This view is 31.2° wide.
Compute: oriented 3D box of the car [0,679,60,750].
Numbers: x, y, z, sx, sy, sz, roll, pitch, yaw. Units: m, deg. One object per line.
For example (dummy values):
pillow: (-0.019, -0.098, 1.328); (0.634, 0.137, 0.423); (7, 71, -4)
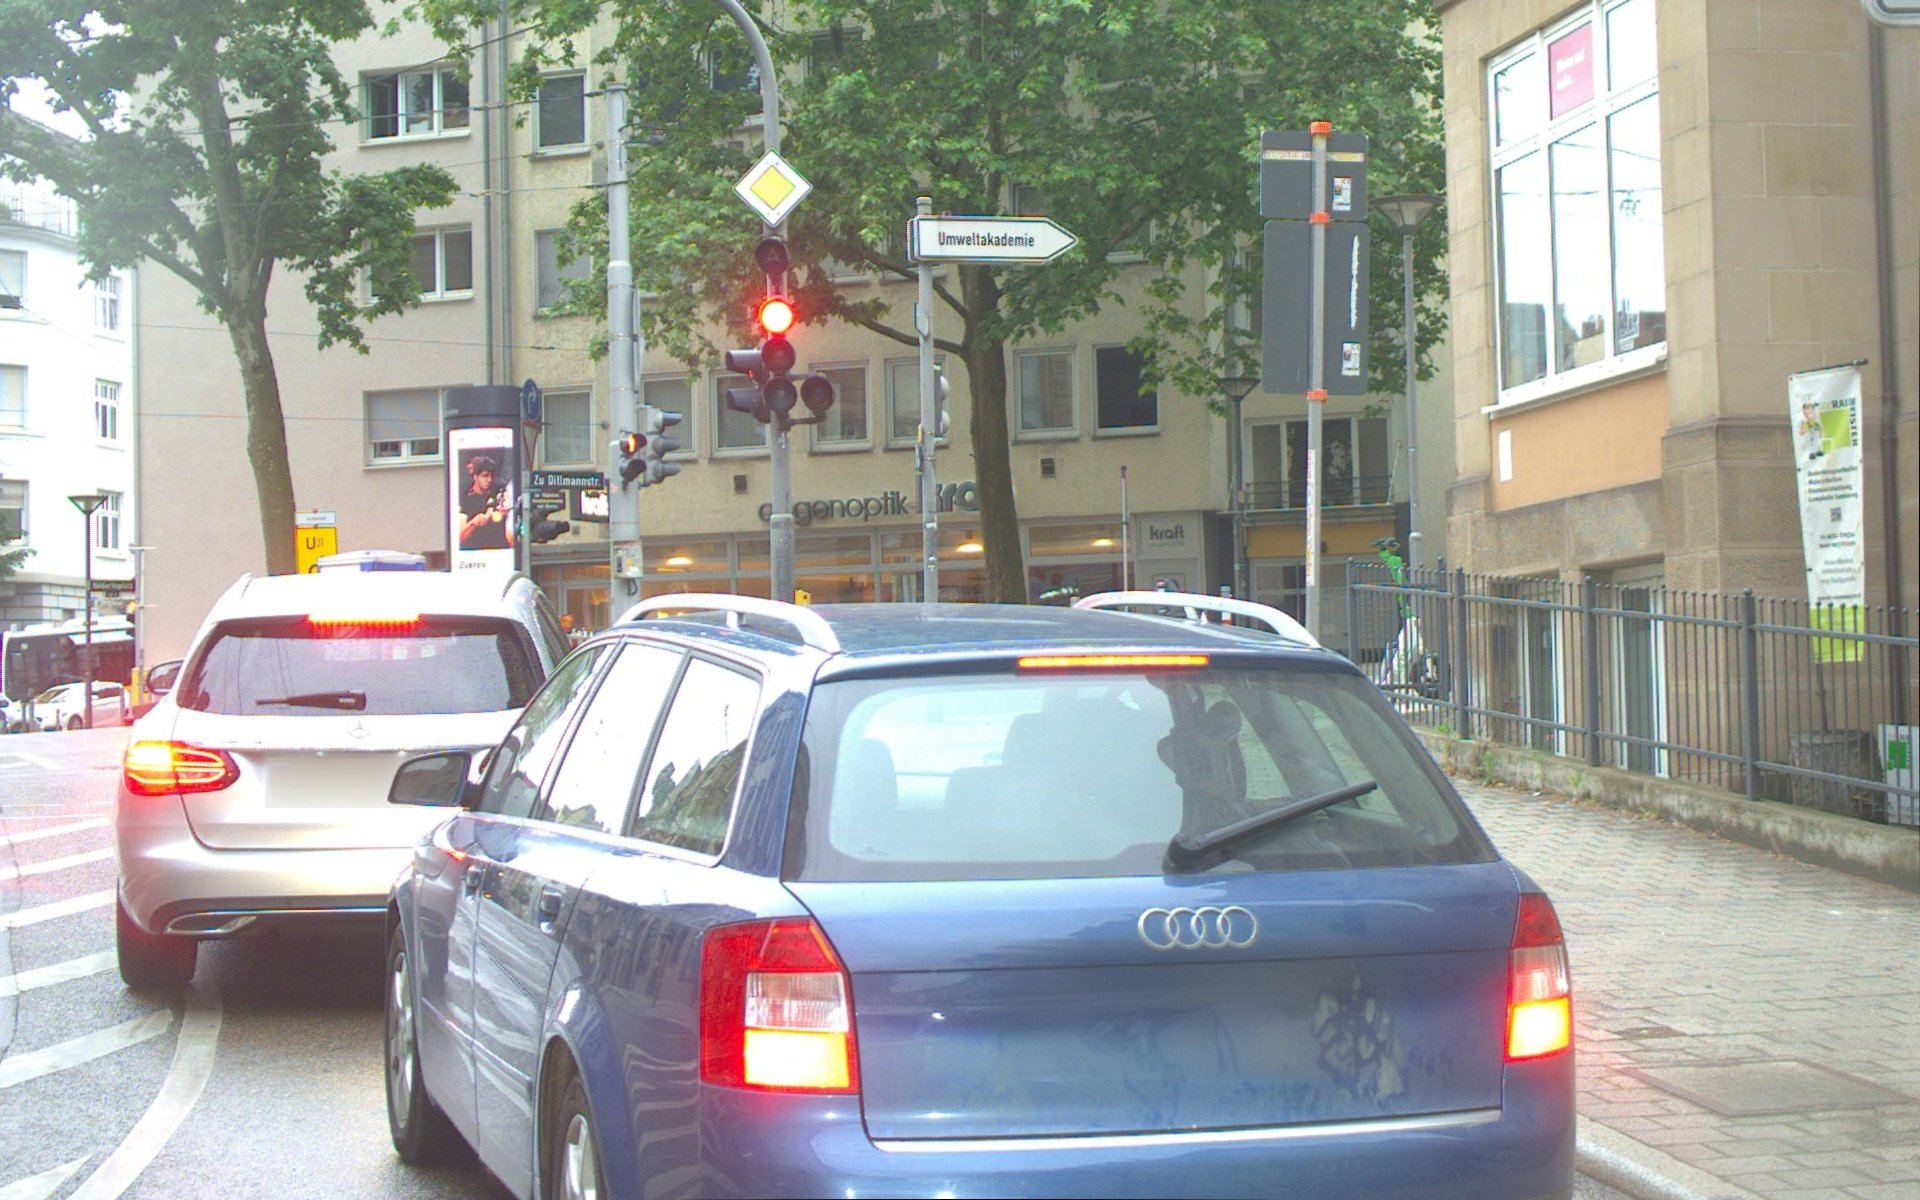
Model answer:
car: (-22.510, 2.611, 76.434); (1.798, 1.505, 4.655); (-1, 1, 39)

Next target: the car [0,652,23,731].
car: (-19.986, 1.903, 68.030); (1.794, 1.505, 4.000); (-4, 1, -1)

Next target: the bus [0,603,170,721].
bus: (-25.037, 1.652, 94.284); (2.856, 2.851, 8.728); (-1, 1, 14)

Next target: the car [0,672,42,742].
car: (-24.094, 2.650, 83.097); (1.796, 1.609, 3.997); (-1, 1, 17)

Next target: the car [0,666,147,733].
car: (-22.813, 2.556, 88.569); (1.796, 1.505, 3.997); (-1, 1, 17)

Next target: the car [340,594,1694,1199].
car: (-0.213, 0.729, 7.245); (1.710, 1.410, 4.037); (0, 1, -17)

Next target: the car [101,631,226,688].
car: (-23.563, 1.745, 101.887); (1.796, 1.505, 3.997); (-1, 1, 17)

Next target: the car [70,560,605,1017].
car: (-2.251, 0.585, 12.933); (1.710, 1.451, 3.554); (0, 1, -8)

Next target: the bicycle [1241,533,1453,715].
bicycle: (2.667, 0.157, 23.723); (1.300, 1.169, 0.526); (-3, 1, -12)
